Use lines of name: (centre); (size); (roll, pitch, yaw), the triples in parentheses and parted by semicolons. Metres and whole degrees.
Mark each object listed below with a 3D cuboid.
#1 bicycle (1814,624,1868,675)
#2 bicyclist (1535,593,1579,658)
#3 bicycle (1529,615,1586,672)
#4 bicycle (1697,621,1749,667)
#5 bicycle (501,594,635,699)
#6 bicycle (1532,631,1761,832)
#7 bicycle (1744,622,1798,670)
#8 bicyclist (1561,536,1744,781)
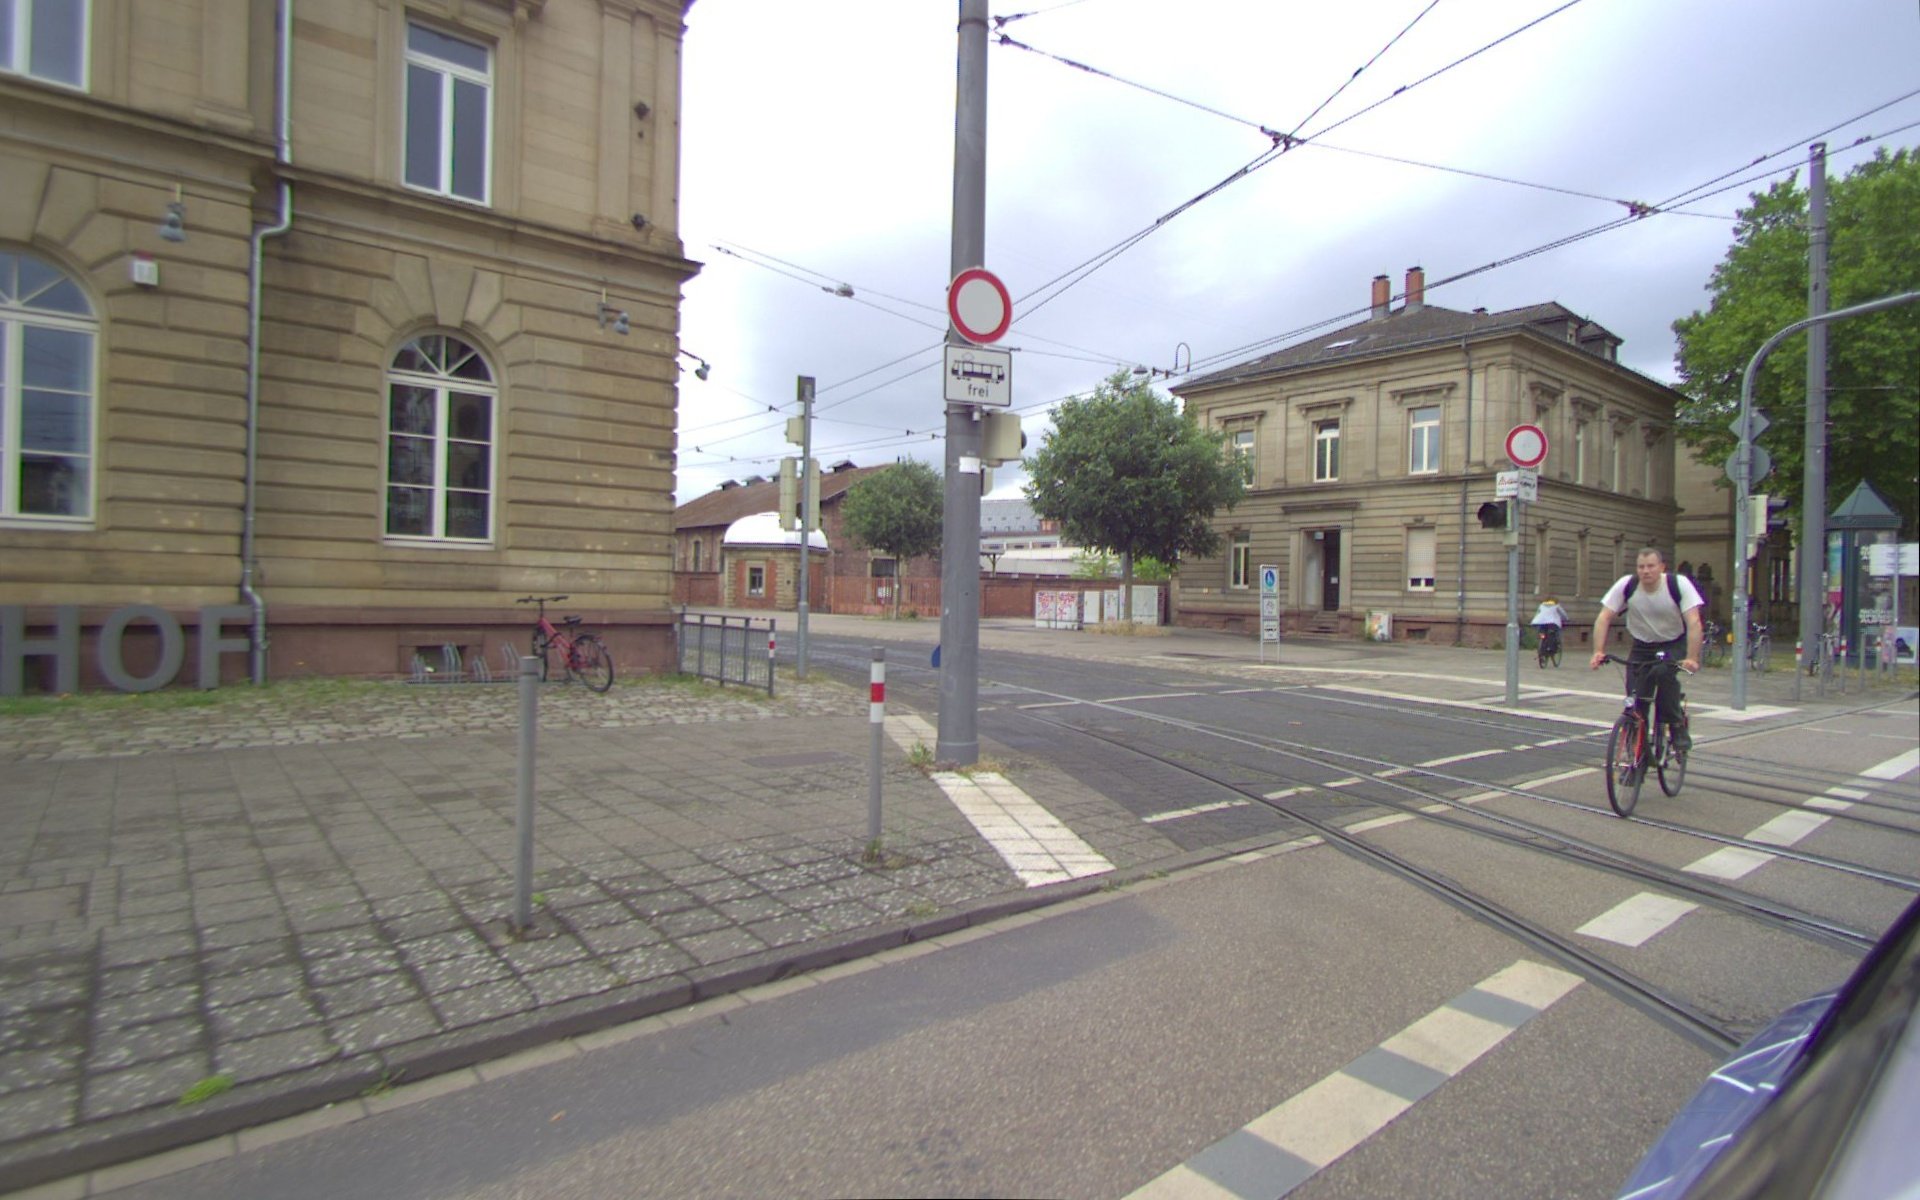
bicycle: (20.737, 1.144, 23.810); (1.669, 1.082, 0.718); (0, 1, -40)
bicyclist: (13.372, 0.549, 22.659); (0.692, 1.417, 0.804); (1, 1, 42)
bicycle: (13.430, 0.943, 22.733); (0.674, 1.179, 2.082); (1, 1, 42)
bicycle: (19.326, 1.100, 25.626); (1.669, 1.082, 0.718); (0, 1, -40)
bicycle: (-4.786, 0.526, 12.313); (1.845, 1.091, 0.541); (4, 2, 34)
bicycle: (5.076, 0.860, 7.413); (2.237, 1.184, 0.814); (0, 1, -40)
bicycle: (19.907, 1.117, 24.835); (1.669, 1.082, 0.718); (0, 1, -40)
bicyclist: (5.056, 0.376, 7.384); (1.169, 1.620, 0.812); (0, 1, -40)
